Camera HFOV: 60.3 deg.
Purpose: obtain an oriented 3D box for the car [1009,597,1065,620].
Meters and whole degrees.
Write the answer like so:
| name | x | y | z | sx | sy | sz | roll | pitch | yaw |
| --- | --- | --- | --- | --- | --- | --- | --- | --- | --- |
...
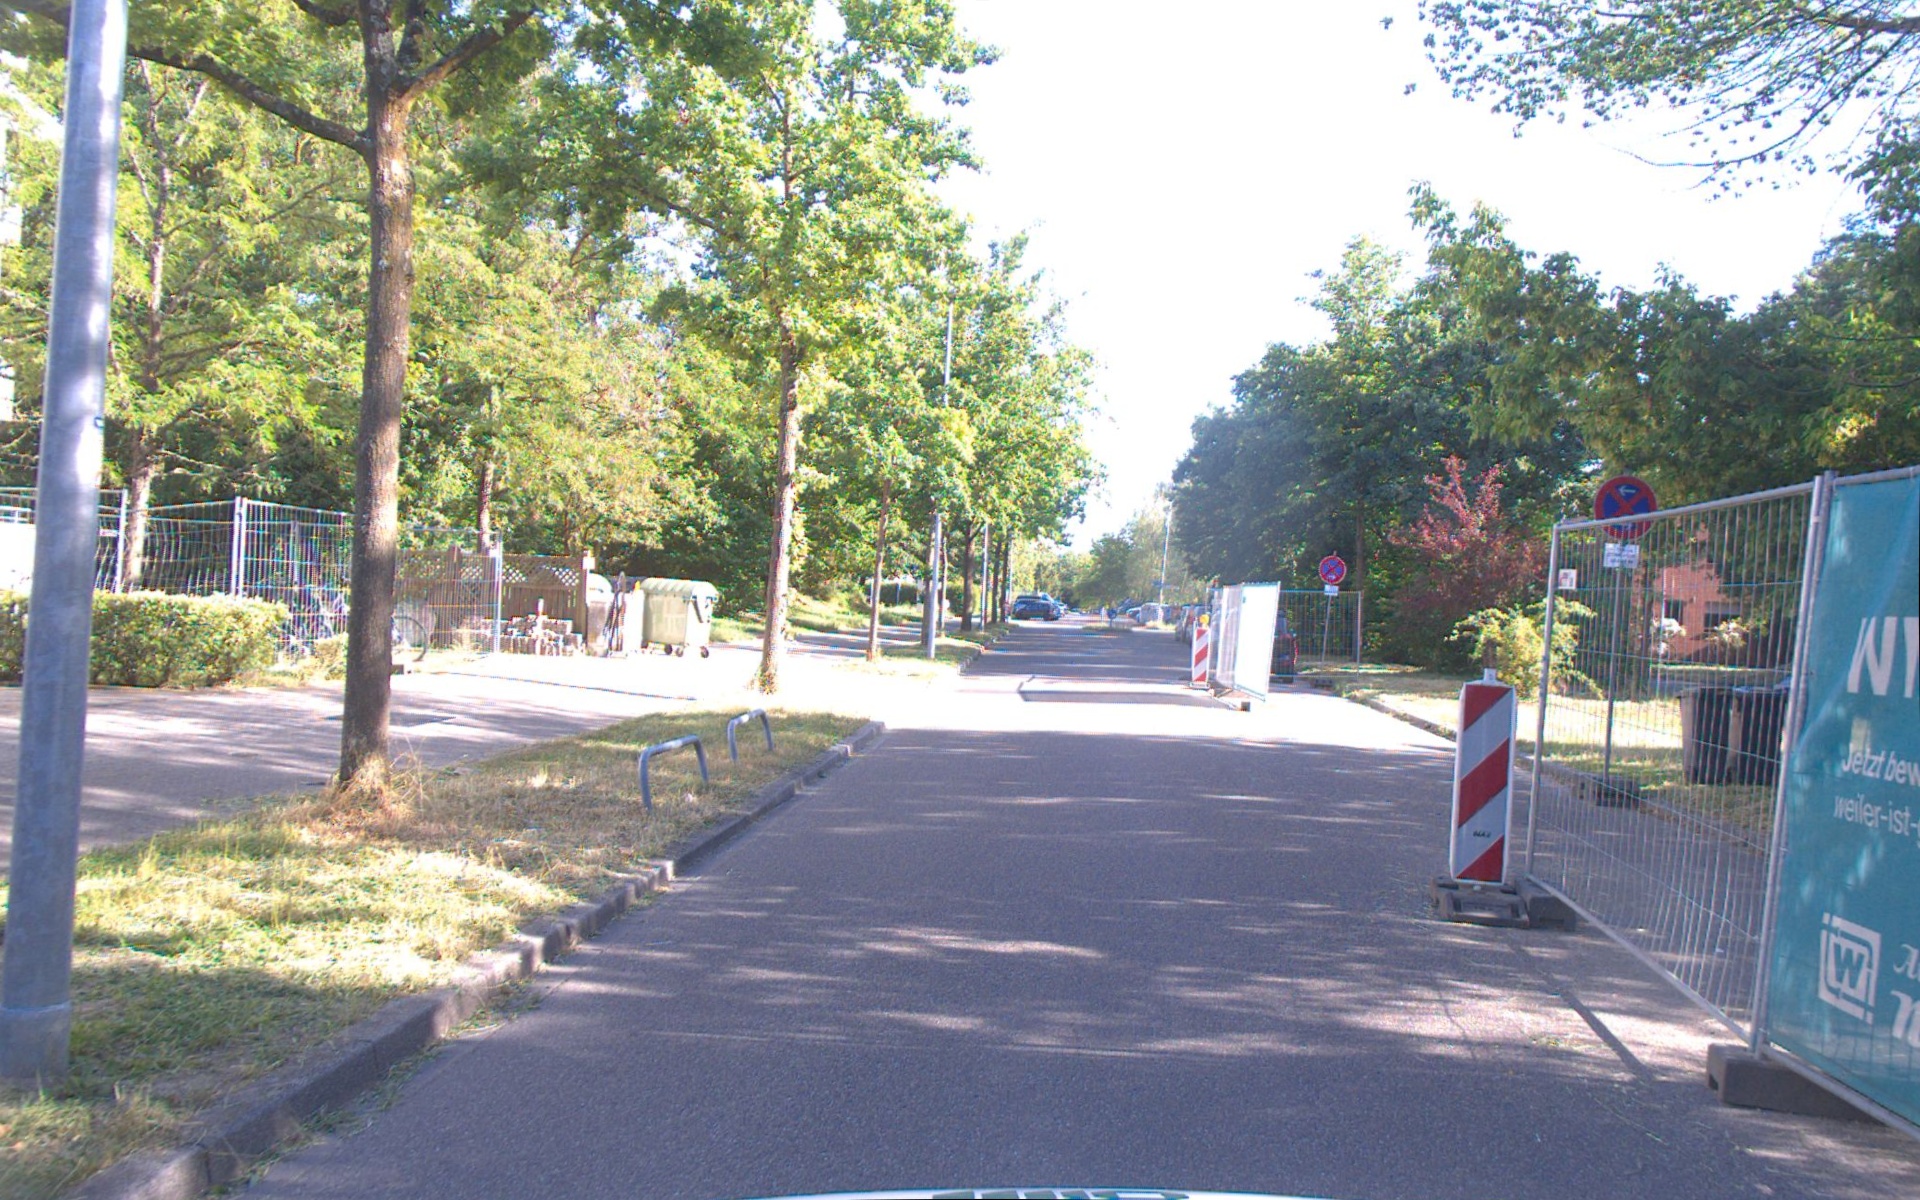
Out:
| name | x | y | z | sx | sy | sz | roll | pitch | yaw |
| --- | --- | --- | --- | --- | --- | --- | --- | --- | --- |
| car | 6.355 | 0.692 | 136.437 | 4.227 | 1.604 | 2.048 | 4 | 0 | 11 |

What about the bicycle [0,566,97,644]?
| name | x | y | z | sx | sy | sz | roll | pitch | yaw |
| --- | --- | --- | --- | --- | --- | --- | --- | --- | --- |
| bicycle | -13.176 | 0.057 | 23.510 | 1.659 | 1.045 | 0.401 | 3 | -1 | 10 |

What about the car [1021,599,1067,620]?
| name | x | y | z | sx | sy | sz | roll | pitch | yaw |
| --- | --- | --- | --- | --- | --- | --- | --- | --- | --- |
| car | 7.791 | 0.858 | 152.976 | 4.021 | 1.604 | 1.960 | 4 | 0 | 6 |

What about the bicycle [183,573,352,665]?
| name | x | y | z | sx | sy | sz | roll | pitch | yaw |
| --- | --- | --- | --- | --- | --- | --- | --- | --- | --- |
| bicycle | -8.564 | 0.236 | 20.483 | 1.834 | 1.045 | 0.400 | 3 | -1 | -9 |

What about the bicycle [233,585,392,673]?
| name | x | y | z | sx | sy | sz | roll | pitch | yaw |
| --- | --- | --- | --- | --- | --- | --- | --- | --- | --- |
| bicycle | -8.367 | 0.375 | 21.410 | 1.820 | 1.045 | 0.400 | 3 | -1 | -9 |

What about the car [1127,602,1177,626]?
| name | x | y | z | sx | sy | sz | roll | pitch | yaw |
| --- | --- | --- | --- | --- | --- | --- | --- | --- | --- |
| car | 15.250 | 1.123 | 131.211 | 3.757 | 1.604 | 1.690 | 4 | 0 | 11 |

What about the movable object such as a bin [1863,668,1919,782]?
| name | x | y | z | sx | sy | sz | roll | pitch | yaw |
| --- | --- | --- | --- | --- | --- | --- | --- | --- | --- |
| movable object such as a bin | 8.885 | 1.163 | 15.491 | 0.550 | 1.017 | 0.608 | 1 | -1 | 5 |

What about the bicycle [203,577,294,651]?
| name | x | y | z | sx | sy | sz | roll | pitch | yaw |
| --- | --- | --- | --- | --- | --- | --- | --- | --- | --- |
| bicycle | -10.466 | 0.215 | 24.387 | 0.391 | 1.045 | 1.701 | 2 | -1 | 7 |

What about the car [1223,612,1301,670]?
| name | x | y | z | sx | sy | sz | roll | pitch | yaw |
| --- | --- | --- | --- | --- | --- | --- | --- | --- | --- |
| car | 8.403 | 1.117 | 46.292 | 1.627 | 1.399 | 4.157 | 4 | 0 | 4 |

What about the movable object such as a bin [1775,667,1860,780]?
| name | x | y | z | sx | sy | sz | roll | pitch | yaw |
| --- | --- | --- | --- | --- | --- | --- | --- | --- | --- |
| movable object such as a bin | 8.054 | 1.151 | 15.546 | 0.508 | 1.017 | 0.608 | 1 | -1 | 5 |

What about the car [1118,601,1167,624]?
| name | x | y | z | sx | sy | sz | roll | pitch | yaw |
| --- | --- | --- | --- | --- | --- | --- | --- | --- | --- |
| car | 14.825 | 1.033 | 134.079 | 3.757 | 1.604 | 1.690 | 4 | 0 | 11 |

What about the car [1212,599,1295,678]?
| name | x | y | z | sx | sy | sz | roll | pitch | yaw |
| --- | --- | --- | --- | --- | --- | --- | --- | --- | --- |
| car | 7.120 | 0.911 | 40.441 | 1.772 | 1.679 | 4.424 | 4 | 0 | 8 |

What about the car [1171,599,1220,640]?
| name | x | y | z | sx | sy | sz | roll | pitch | yaw |
| --- | --- | --- | --- | --- | --- | --- | --- | --- | --- |
| car | 11.621 | 0.941 | 81.916 | 1.754 | 1.816 | 4.557 | 4 | 0 | 1 |

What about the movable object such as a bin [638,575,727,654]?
| name | x | y | z | sx | sy | sz | roll | pitch | yaw |
| --- | --- | --- | --- | --- | --- | --- | --- | --- | --- |
| movable object such as a bin | -5.392 | 0.286 | 32.224 | 1.243 | 1.460 | 1.181 | 2 | 0 | 20 |

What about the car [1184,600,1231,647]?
| name | x | y | z | sx | sy | sz | roll | pitch | yaw |
| --- | --- | --- | --- | --- | --- | --- | --- | --- | --- |
| car | 10.559 | 0.985 | 70.758 | 1.589 | 1.803 | 3.671 | 4 | 0 | 4 |

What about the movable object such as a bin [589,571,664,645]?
| name | x | y | z | sx | sy | sz | roll | pitch | yaw |
| --- | --- | --- | --- | --- | --- | --- | --- | --- | --- |
| movable object such as a bin | -6.859 | 0.163 | 33.985 | 1.128 | 1.460 | 1.261 | 2 | 0 | -29 |

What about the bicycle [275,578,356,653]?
| name | x | y | z | sx | sy | sz | roll | pitch | yaw |
| --- | --- | --- | --- | --- | --- | --- | --- | --- | --- |
| bicycle | -9.465 | 0.231 | 24.346 | 0.391 | 1.045 | 1.701 | 2 | -1 | 3 |

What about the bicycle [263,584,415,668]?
| name | x | y | z | sx | sy | sz | roll | pitch | yaw |
| --- | --- | --- | --- | --- | --- | --- | --- | --- | --- |
| bicycle | -8.377 | 0.357 | 22.360 | 1.824 | 1.045 | 0.400 | 3 | -1 | -9 |

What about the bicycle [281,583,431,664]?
| name | x | y | z | sx | sy | sz | roll | pitch | yaw |
| --- | --- | --- | --- | --- | --- | --- | --- | --- | --- |
| bicycle | -8.476 | 0.331 | 23.258 | 1.879 | 1.045 | 0.400 | 3 | -1 | -9 |

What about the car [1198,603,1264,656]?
| name | x | y | z | sx | sy | sz | roll | pitch | yaw |
| --- | --- | --- | --- | --- | --- | --- | --- | --- | --- |
| car | 9.399 | 1.006 | 57.669 | 1.739 | 1.649 | 4.066 | 4 | 0 | 3 |

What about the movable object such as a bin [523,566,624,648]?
| name | x | y | z | sx | sy | sz | roll | pitch | yaw |
| --- | --- | --- | --- | --- | --- | --- | --- | --- | --- |
| movable object such as a bin | -7.277 | 0.133 | 31.155 | 1.246 | 1.460 | 1.322 | 2 | 0 | 32 |

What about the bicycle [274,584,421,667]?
| name | x | y | z | sx | sy | sz | roll | pitch | yaw |
| --- | --- | --- | --- | --- | --- | --- | --- | --- | --- |
| bicycle | -8.417 | 0.348 | 22.786 | 1.803 | 1.045 | 0.400 | 3 | -1 | -9 |

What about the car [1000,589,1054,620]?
| name | x | y | z | sx | sy | sz | roll | pitch | yaw |
| --- | --- | --- | --- | --- | --- | --- | --- | --- | --- |
| car | 6.540 | 0.423 | 161.764 | 5.095 | 2.666 | 2.293 | 4 | 0 | -1 |

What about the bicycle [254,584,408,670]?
| name | x | y | z | sx | sy | sz | roll | pitch | yaw |
| --- | --- | --- | --- | --- | --- | --- | --- | --- | --- |
| bicycle | -8.305 | 0.355 | 21.881 | 1.804 | 1.045 | 0.400 | 3 | -1 | -9 |
